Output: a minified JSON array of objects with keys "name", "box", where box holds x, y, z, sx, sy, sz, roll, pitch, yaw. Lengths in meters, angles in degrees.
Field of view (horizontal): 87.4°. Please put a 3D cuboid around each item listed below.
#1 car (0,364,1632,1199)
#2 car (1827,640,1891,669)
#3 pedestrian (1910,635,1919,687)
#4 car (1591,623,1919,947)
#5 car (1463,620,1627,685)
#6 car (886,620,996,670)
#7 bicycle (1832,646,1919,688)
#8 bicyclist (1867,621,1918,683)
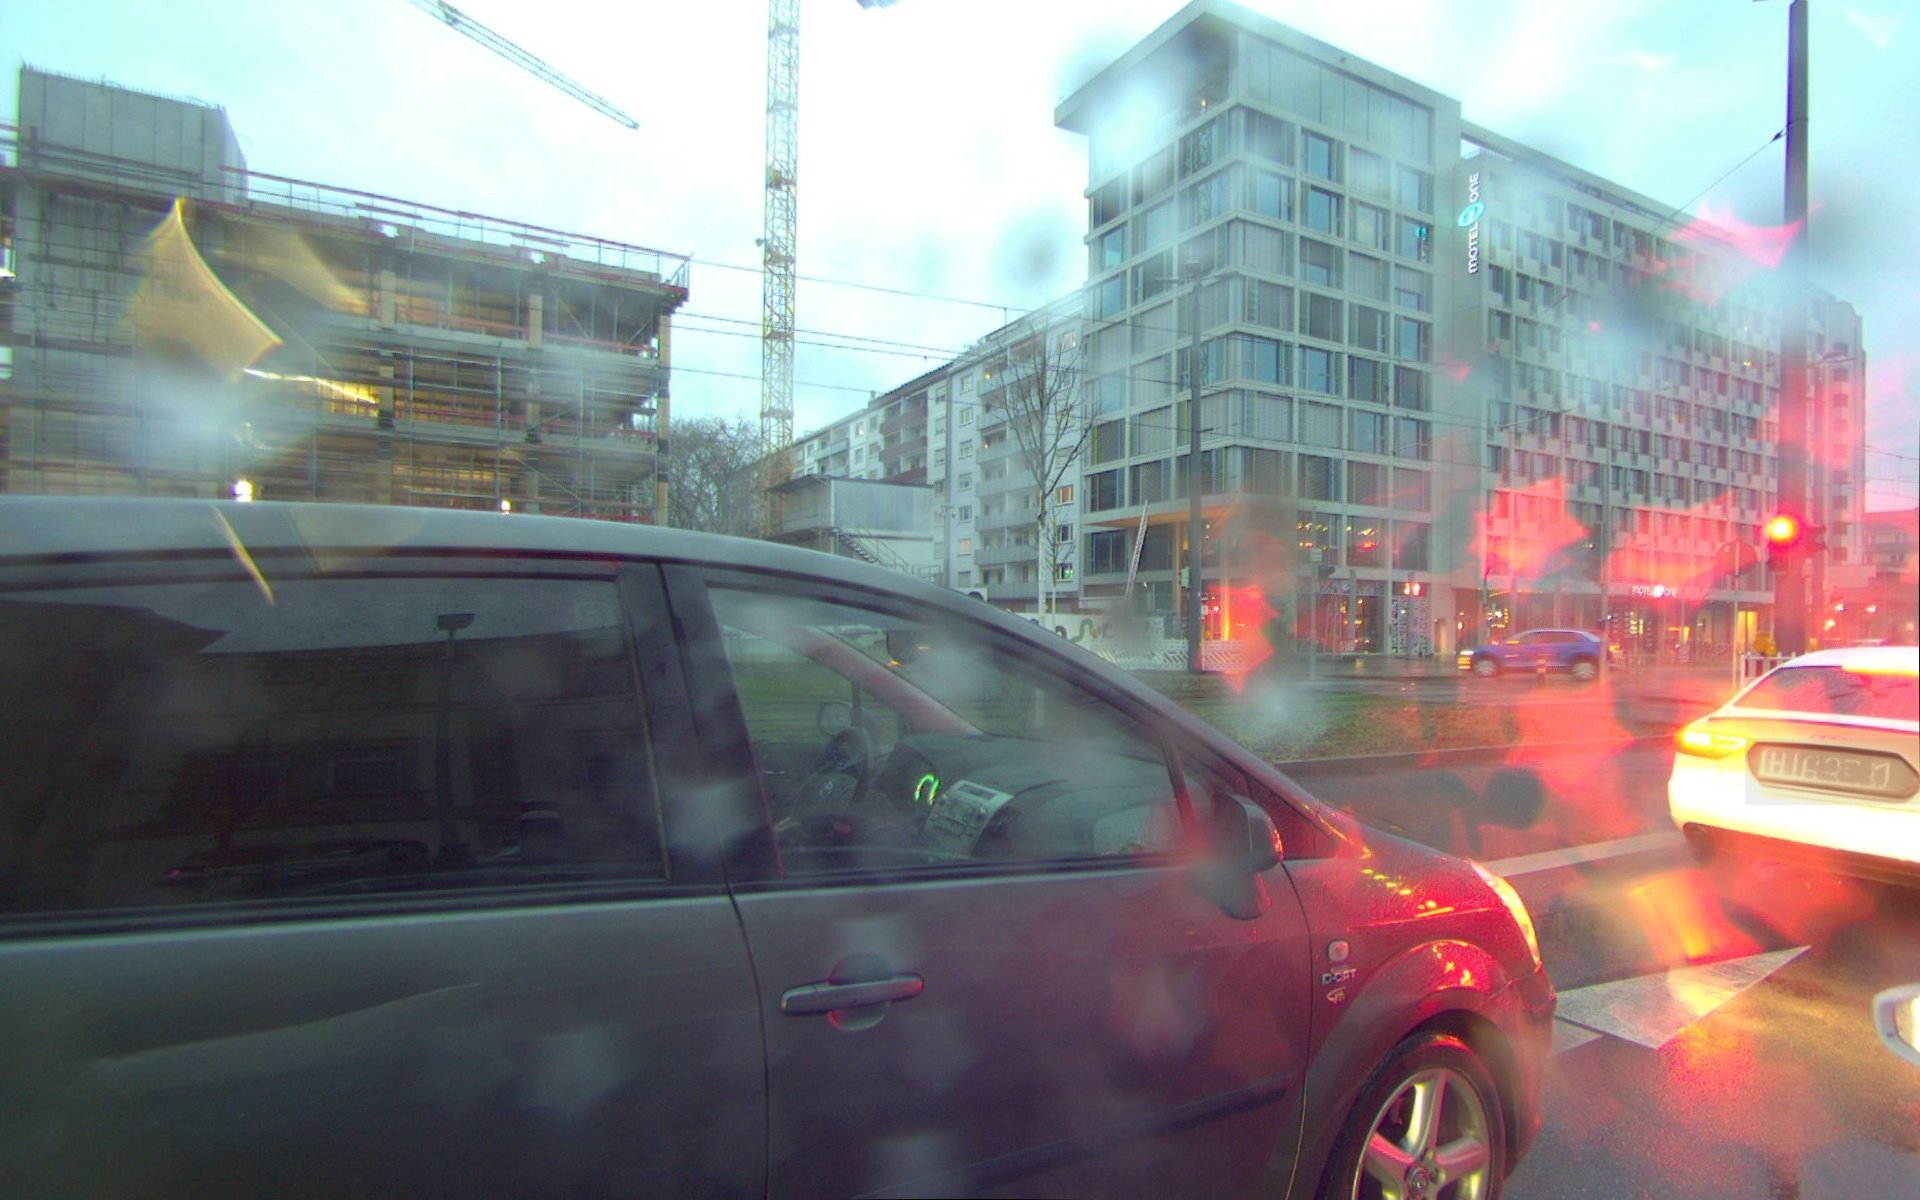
[{"name":"car","box":[-0.558,0.643,2.135,4.089,1.668,1.801,1,0,-32]},{"name":"car","box":[50.959,3.083,56.916,3.654,1.527,1.666,3,0,-31]},{"name":"pedestrian","box":[32.803,2.089,34.050,0.808,1.734,0.782,2,0,-45]},{"name":"car","box":[6.068,0.920,6.230,4.320,1.475,1.983,1,0,-32]},{"name":"car","box":[17.351,1.503,29.885,3.940,1.644,1.711,2,0,41]},{"name":"car","box":[-0.698,1.534,34.716,3.630,1.497,1.627,2,0,-6]},{"name":"bicycle","box":[27.675,1.984,29.754,0.808,1.103,2.645,2,0,-39]},{"name":"bicyclist","box":[27.654,1.531,29.790,0.807,1.782,0.964,2,0,-40]}]
